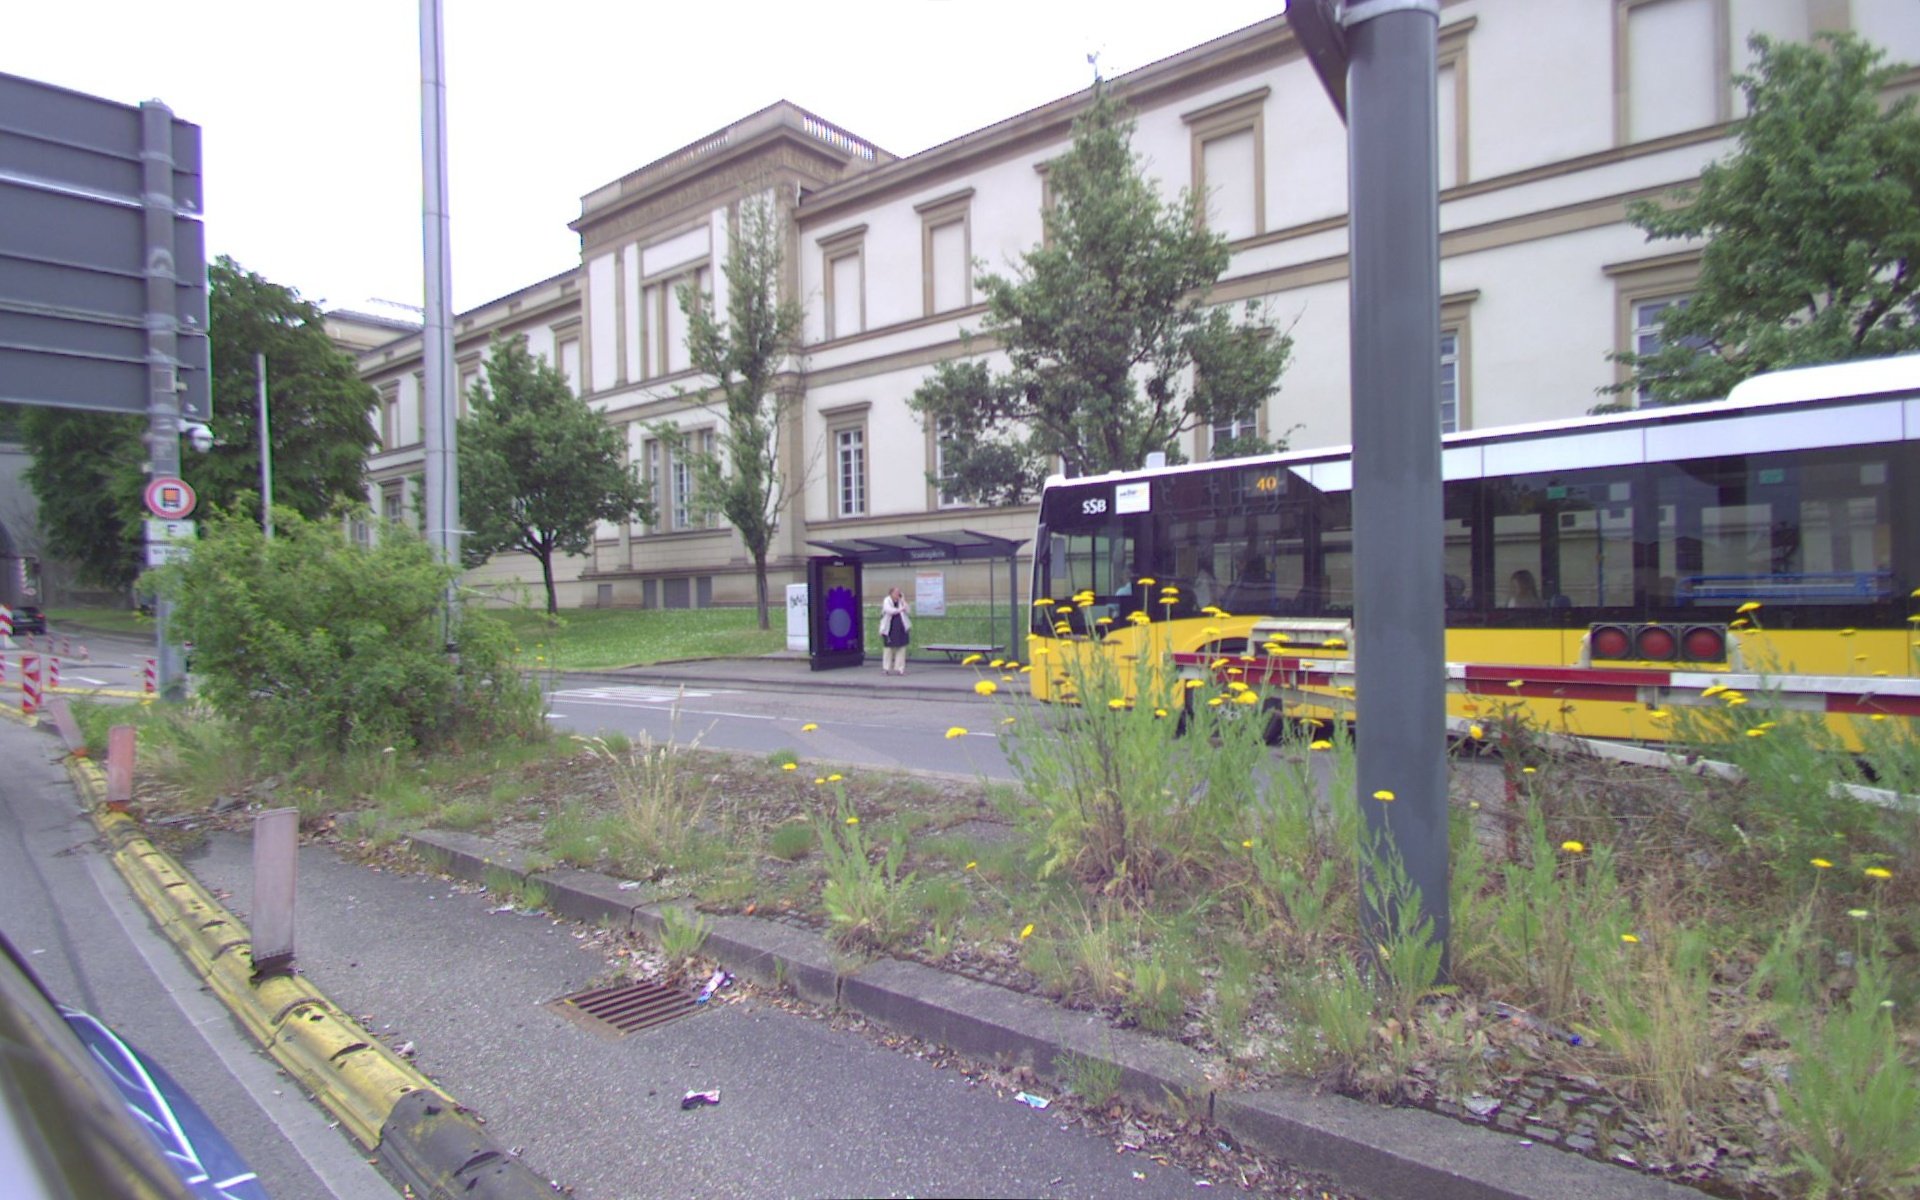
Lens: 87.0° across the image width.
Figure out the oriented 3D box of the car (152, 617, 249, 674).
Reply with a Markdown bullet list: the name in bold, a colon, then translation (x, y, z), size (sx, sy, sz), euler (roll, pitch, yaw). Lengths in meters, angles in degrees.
- **car**: translation (-22.878, 1.323, 30.448), size (3.881, 1.603, 1.645), euler (-1, -1, 42)

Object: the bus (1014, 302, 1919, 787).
- **bus**: translation (5.171, -0.332, 9.456), size (9.749, 3.137, 2.815), euler (-1, 0, 43)

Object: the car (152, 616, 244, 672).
- **car**: translation (-22.606, 1.289, 30.014), size (2.820, 1.563, 1.520), euler (-1, -1, 38)

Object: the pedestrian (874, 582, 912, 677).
- **pedestrian**: translation (-1.236, 0.538, 18.741), size (0.578, 1.708, 0.460), euler (-1, 0, -15)

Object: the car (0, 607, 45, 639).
- **car**: translation (-49.869, 1.222, 53.683), size (3.881, 1.603, 1.645), euler (-1, -1, 42)
